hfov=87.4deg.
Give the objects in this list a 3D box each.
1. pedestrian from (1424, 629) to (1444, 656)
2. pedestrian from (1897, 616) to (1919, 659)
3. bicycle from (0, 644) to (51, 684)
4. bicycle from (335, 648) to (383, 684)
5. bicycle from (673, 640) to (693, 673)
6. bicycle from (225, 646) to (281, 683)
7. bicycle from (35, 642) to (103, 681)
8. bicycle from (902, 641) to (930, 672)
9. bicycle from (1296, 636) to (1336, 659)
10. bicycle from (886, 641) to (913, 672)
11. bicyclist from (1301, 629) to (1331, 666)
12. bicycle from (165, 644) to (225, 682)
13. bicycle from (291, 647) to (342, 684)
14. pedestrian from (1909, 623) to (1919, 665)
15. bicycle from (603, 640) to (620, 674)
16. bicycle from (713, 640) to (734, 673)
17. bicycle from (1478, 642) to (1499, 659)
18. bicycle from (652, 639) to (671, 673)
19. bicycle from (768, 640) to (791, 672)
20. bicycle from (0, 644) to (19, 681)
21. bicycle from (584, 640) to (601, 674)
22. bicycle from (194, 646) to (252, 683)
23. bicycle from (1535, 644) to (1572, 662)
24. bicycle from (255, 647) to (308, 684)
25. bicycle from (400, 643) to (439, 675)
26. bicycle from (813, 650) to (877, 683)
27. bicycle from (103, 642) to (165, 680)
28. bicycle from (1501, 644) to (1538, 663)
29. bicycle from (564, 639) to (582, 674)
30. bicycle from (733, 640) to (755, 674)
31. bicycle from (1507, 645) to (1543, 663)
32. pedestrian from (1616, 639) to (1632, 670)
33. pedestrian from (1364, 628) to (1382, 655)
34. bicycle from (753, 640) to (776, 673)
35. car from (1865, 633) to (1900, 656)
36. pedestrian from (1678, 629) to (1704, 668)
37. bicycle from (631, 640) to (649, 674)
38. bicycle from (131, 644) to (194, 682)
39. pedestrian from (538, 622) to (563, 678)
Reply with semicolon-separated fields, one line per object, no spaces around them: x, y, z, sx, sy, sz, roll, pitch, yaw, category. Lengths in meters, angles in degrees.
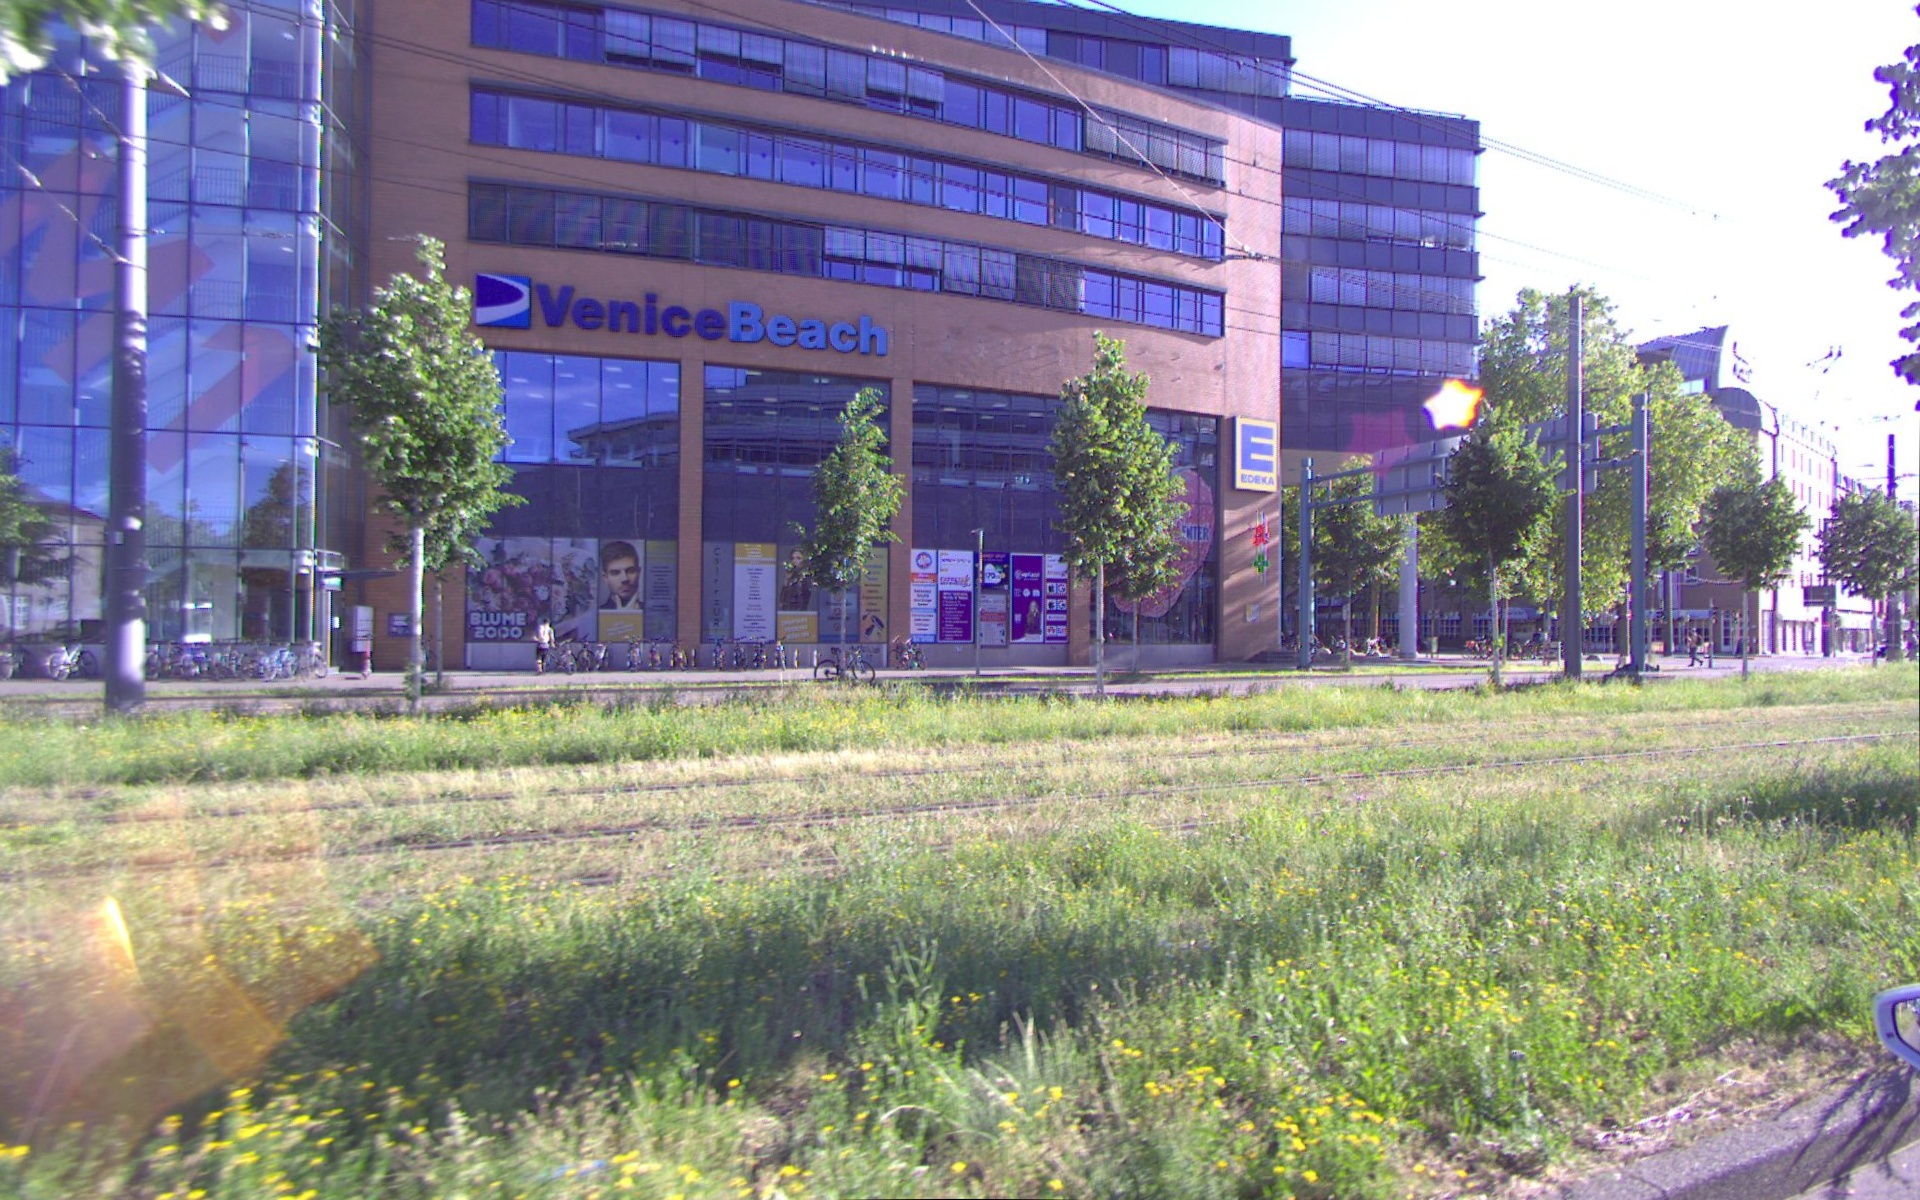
29.280;2.599;62.012;0.826;1.619;0.731;1;0;-23;pedestrian
41.562;1.646;44.018;0.656;1.854;0.627;1;-1;-34;pedestrian
-24.310;1.627;25.805;0.554;0.938;1.768;1;-1;-11;bicycle
-16.649;1.809;27.848;0.554;0.938;1.768;1;-1;-11;bicycle
-9.216;1.864;33.437;0.483;1.063;1.763;1;-1;-20;bicycle
-19.158;1.743;27.244;0.554;0.938;1.768;1;-1;-11;bicycle
-23.186;1.583;26.172;0.482;0.938;1.768;1;-1;-11;bicycle
-1.610;2.015;36.218;0.483;1.063;1.763;1;-1;-20;bicycle
14.668;1.960;41.387;1.867;0.922;0.495;1;-1;-31;bicycle
-2.175;1.999;35.967;0.483;1.063;1.763;1;-1;-20;bicycle
14.682;1.947;41.419;1.005;1.484;0.674;1;-1;-31;bicyclist
-20.468;1.678;26.919;0.554;0.938;1.768;1;-1;-11;bicycle
-17.633;1.783;27.555;0.554;0.938;1.768;1;-1;-11;bicycle
42.409;1.949;44.379;0.656;1.841;0.559;1;-1;-34;pedestrian
-11.340;1.840;32.660;0.483;1.063;1.763;1;-1;-20;bicycle
-7.971;1.897;33.814;0.483;1.063;1.763;1;-1;-20;bicycle
30.644;2.924;58.296;0.530;0.964;1.773;0;-1;8;bicycle
-9.887;1.846;33.256;0.483;1.063;1.763;1;-1;-20;bicycle
-6.291;1.946;34.942;0.483;1.063;1.763;1;-1;-20;bicycle
-24.977;1.610;25.660;0.482;0.938;1.768;1;-1;-11;bicycle
-11.885;1.825;32.459;0.483;1.063;1.763;1;-1;-20;bicycle
-19.814;1.726;27.042;0.554;0.938;1.768;1;-1;-11;bicycle
33.897;3.018;57.399;0.536;0.964;1.754;1;-2;-34;bicycle
-18.472;1.761;27.377;0.554;0.938;1.768;1;-1;-11;bicycle
-16.635;1.810;30.972;0.554;0.938;1.768;1;-1;-11;bicycle
-3.204;1.859;28.080;1.749;0.880;0.461;1;-1;-28;bicycle
-21.838;1.599;26.585;0.482;0.938;1.768;1;-1;-11;bicycle
31.315;2.983;56.227;0.537;0.964;1.749;2;-2;-42;bicycle
-12.424;1.810;32.241;0.483;1.063;1.763;1;-1;-20;bicycle
-7.335;1.915;34.033;0.483;1.063;1.763;1;-1;-20;bicycle
32.018;3.030;56.933;1.742;0.964;0.539;0;-2;36;bicycle
44.512;3.640;67.312;0.669;2.040;0.663;1;-1;-27;pedestrian
25.768;2.567;62.676;0.826;1.667;0.731;1;-1;-23;pedestrian
-6.701;1.932;34.316;0.483;1.063;1.763;1;-1;-20;bicycle
85.640;4.136;93.266;3.969;2.040;1.976;2;-2;-41;car
38.352;2.536;52.696;0.826;2.040;0.731;1;0;-23;pedestrian
-10.518;1.862;32.967;0.483;1.063;1.763;1;-1;-20;bicycle
-21.195;1.659;26.734;0.554;0.938;1.768;1;-1;-11;bicycle
-12.501;1.513;30.683;0.666;1.691;0.743;1;-1;-22;pedestrian
